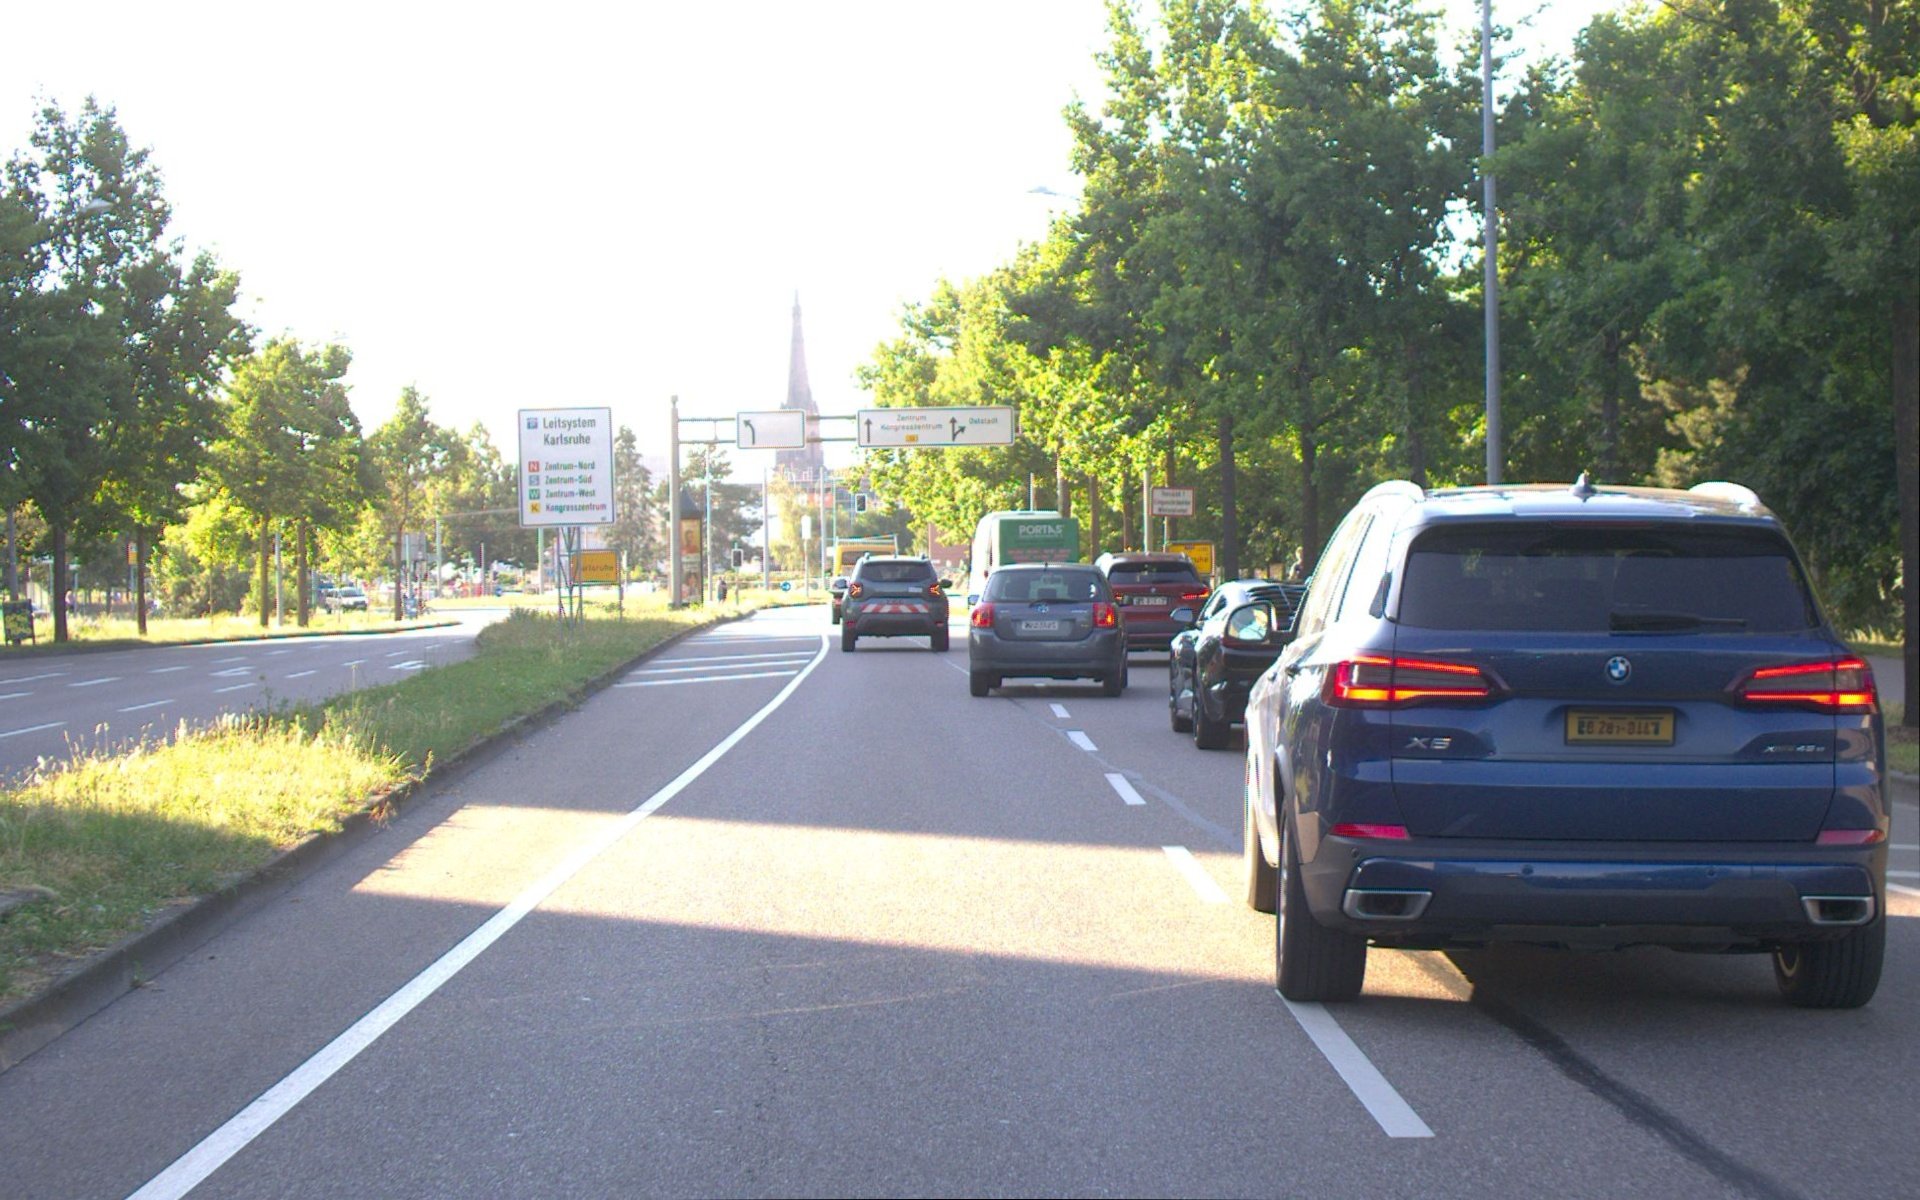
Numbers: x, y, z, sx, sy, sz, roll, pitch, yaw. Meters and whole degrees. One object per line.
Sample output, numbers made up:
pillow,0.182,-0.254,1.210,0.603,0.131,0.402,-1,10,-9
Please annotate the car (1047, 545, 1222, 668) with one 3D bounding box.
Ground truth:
car,2.459,0.061,49.327,1.747,1.615,3.821,2,1,-8

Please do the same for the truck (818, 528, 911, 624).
truck,-2.706,-0.702,98.453,2.220,2.642,4.773,-1,1,3

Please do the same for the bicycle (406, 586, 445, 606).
bicycle,-27.892,-0.207,179.422,1.908,1.016,0.504,0,0,5

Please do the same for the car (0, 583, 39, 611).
car,-52.762,-0.146,188.795,3.699,1.503,1.874,-2,1,-45

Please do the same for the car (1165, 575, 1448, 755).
car,2.727,0.468,27.997,1.854,1.333,4.625,0,1,0

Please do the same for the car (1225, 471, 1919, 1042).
car,2.044,0.471,12.745,1.955,1.721,4.699,0,0,2

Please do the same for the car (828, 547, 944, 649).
car,-1.280,-0.042,58.931,1.905,1.654,4.000,-1,0,-2

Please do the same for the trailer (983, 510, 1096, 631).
trailer,1.597,-0.598,70.292,2.090,2.392,3.501,0,0,-2

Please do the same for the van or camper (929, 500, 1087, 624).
van or camper,0.999,-0.848,76.175,2.284,2.620,6.585,0,1,-10

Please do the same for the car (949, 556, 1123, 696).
car,0.813,0.256,38.867,1.747,1.468,3.820,-1,1,-1

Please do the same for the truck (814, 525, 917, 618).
truck,-2.775,-0.838,99.320,2.580,2.549,6.252,-1,1,-5

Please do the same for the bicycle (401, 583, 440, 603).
bicycle,-27.971,-0.350,178.241,1.909,1.016,0.504,0,0,13

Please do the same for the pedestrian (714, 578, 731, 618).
pedestrian,-12.203,-0.113,176.534,0.789,2.007,0.701,-1,1,-8
